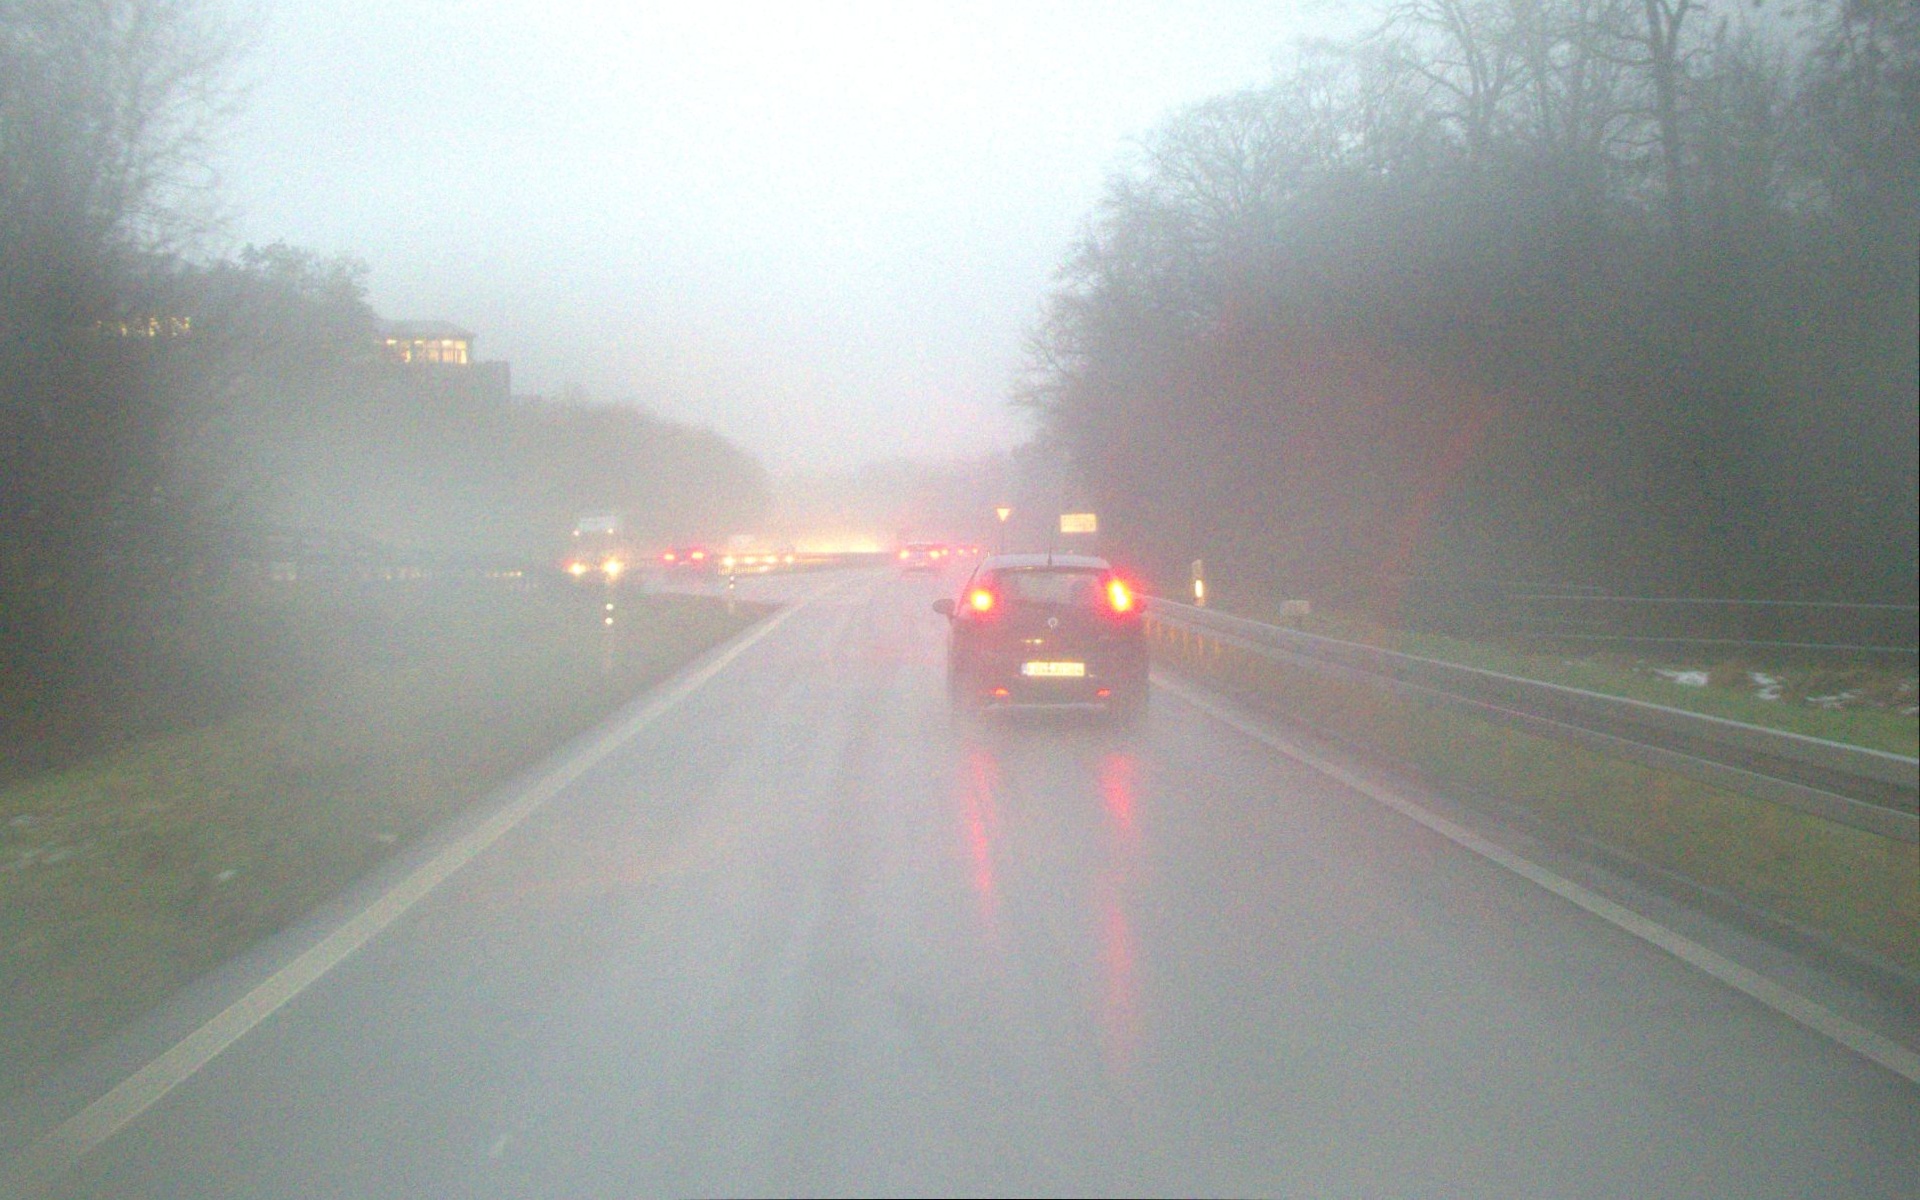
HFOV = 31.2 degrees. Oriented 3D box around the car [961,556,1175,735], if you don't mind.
[{"bbox_3d":[0.913,0.364,30.911,1.732,1.424,3.765,3,1,0],"label":"car"}]
